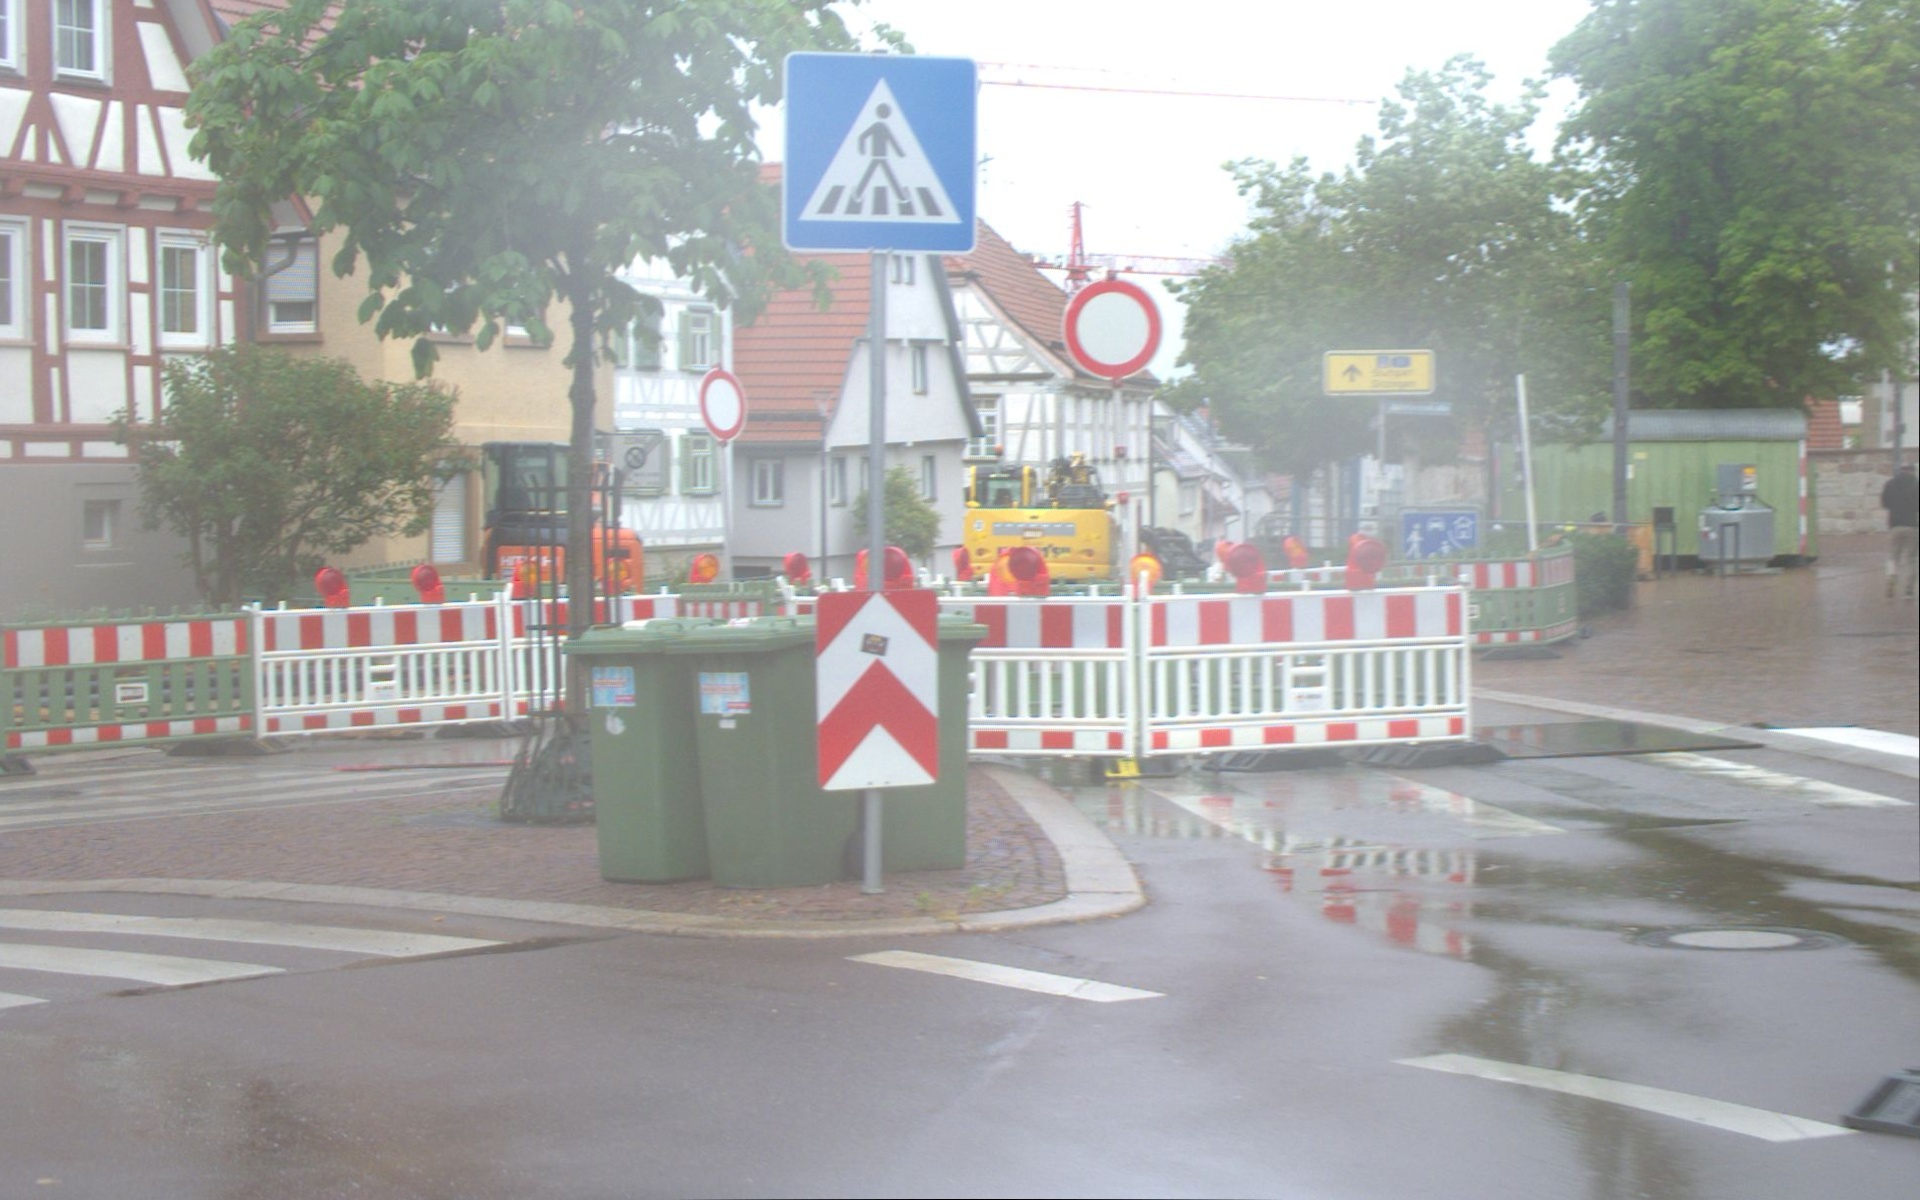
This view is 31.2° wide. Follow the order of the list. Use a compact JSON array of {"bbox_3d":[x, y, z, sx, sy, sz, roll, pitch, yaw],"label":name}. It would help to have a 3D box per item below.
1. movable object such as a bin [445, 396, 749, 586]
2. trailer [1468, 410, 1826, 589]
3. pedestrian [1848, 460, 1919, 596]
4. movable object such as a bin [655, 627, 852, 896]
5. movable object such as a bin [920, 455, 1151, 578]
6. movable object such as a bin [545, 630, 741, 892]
[{"bbox_3d":[-4.087,-1.208,39.366,1.906,2.007,3.996,-1,0,19],"label":"movable object such as a bin"},{"bbox_3d":[11.718,-1.716,58.974,5.782,2.937,2.000,1,1,5],"label":"trailer"},{"bbox_3d":[12.197,-0.941,44.904,0.990,1.753,0.851,1,1,4],"label":"pedestrian"},{"bbox_3d":[-0.814,0.625,13.556,0.544,1.029,0.533,-1,-1,43],"label":"movable object such as a bin"},{"bbox_3d":[1.344,-1.429,59.212,3.404,2.007,3.477,1,1,11],"label":"movable object such as a bin"},{"bbox_3d":[-1.290,0.642,13.991,0.541,1.033,0.571,-1,-1,43],"label":"movable object such as a bin"}]
